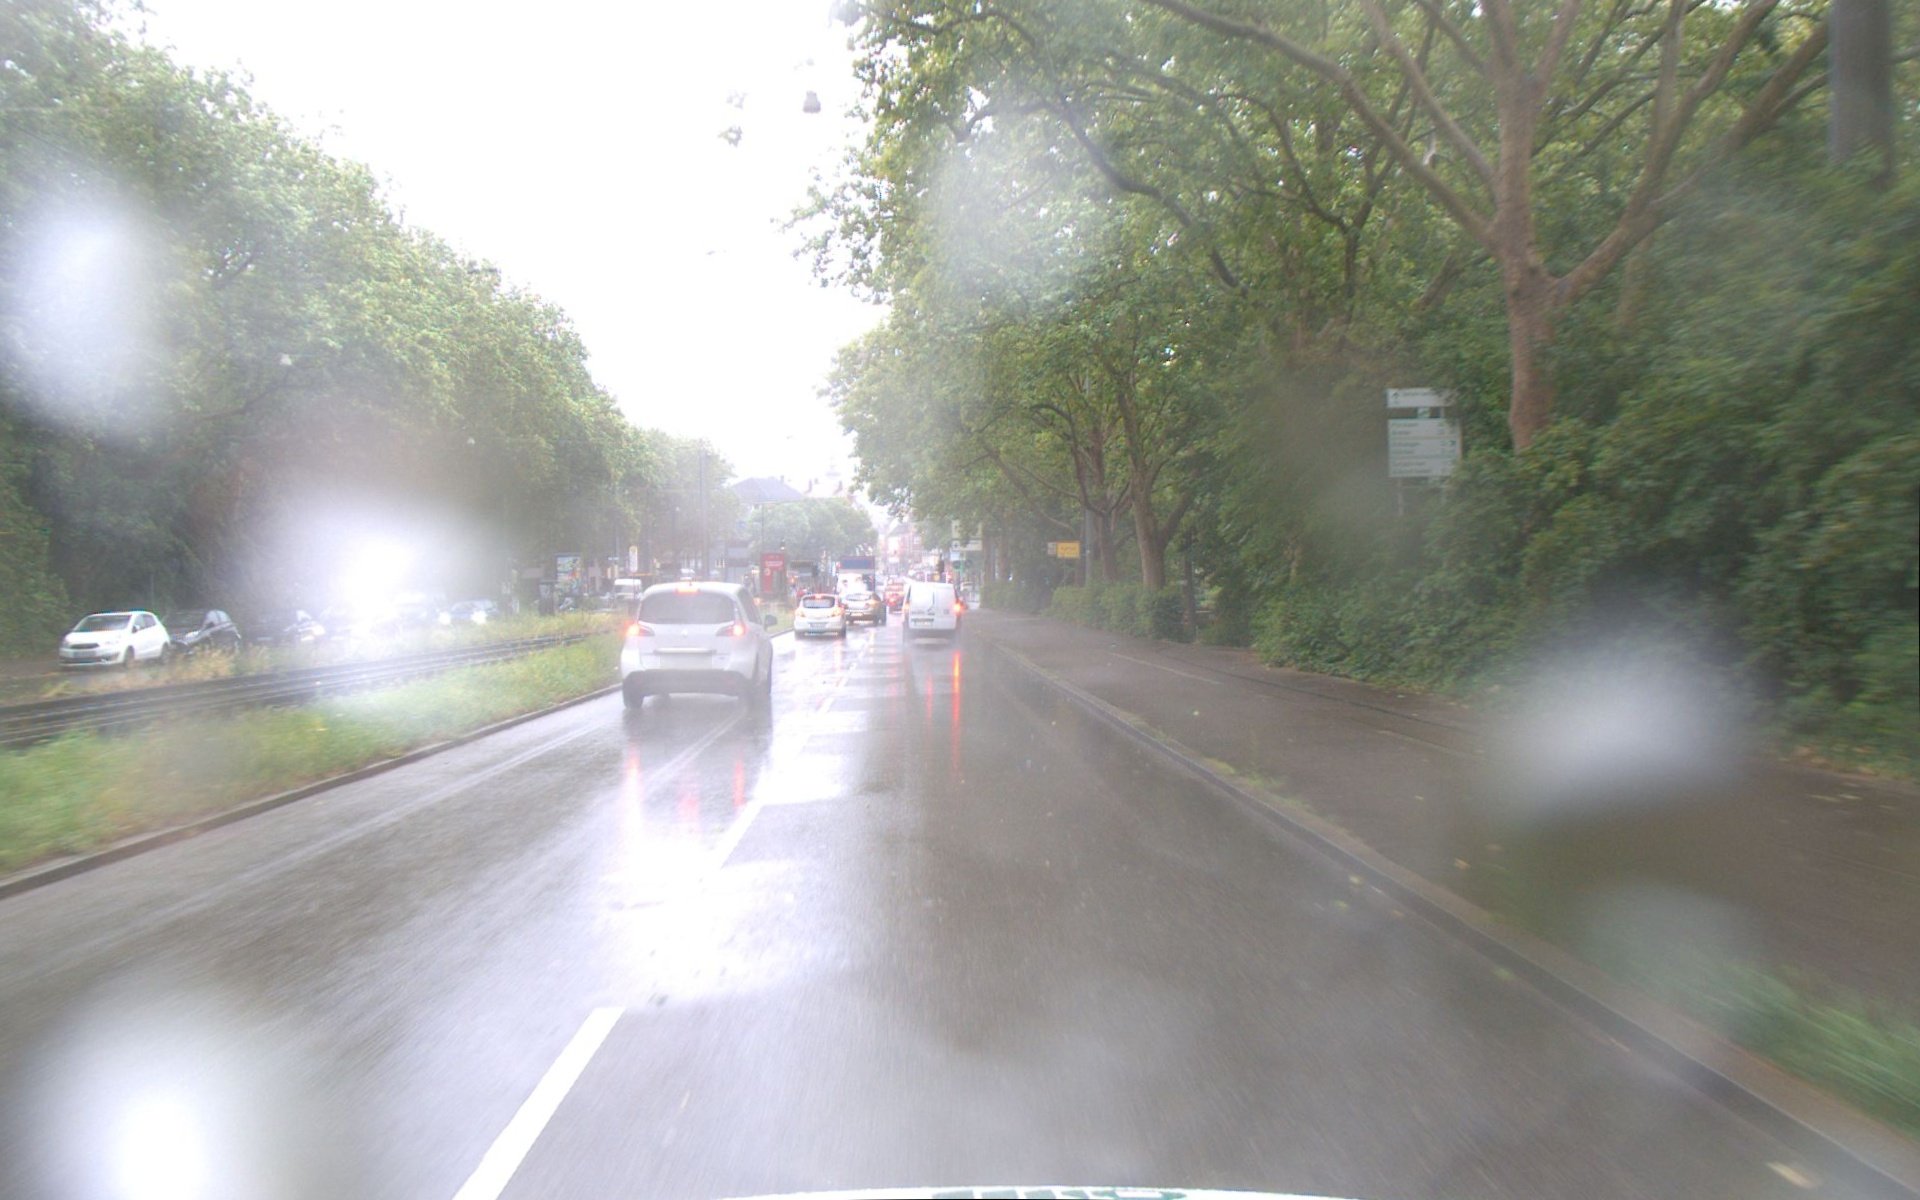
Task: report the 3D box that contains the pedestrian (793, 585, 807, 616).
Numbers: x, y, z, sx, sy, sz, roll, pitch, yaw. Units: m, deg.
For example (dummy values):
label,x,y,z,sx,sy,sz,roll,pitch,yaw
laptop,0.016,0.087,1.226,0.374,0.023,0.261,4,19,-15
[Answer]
label,x,y,z,sx,sy,sz,roll,pitch,yaw
pedestrian,-9.291,0.039,96.061,0.774,1.744,0.770,2,-1,-4

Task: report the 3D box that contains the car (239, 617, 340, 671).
label,x,y,z,sx,sy,sz,roll,pitch,yaw
car,-22.873,1.464,56.595,1.992,1.686,4.604,0,0,-6

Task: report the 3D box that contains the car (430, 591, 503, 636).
label,x,y,z,sx,sy,sz,roll,pitch,yaw
car,-20.770,0.543,69.760,1.992,1.782,4.689,-2,0,-5

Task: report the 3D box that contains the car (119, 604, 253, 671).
label,x,y,z,sx,sy,sz,roll,pitch,yaw
car,-22.430,1.052,48.148,1.992,1.782,4.689,-2,0,-5

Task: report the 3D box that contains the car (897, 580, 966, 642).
label,x,y,z,sx,sy,sz,roll,pitch,yaw
car,-0.887,0.338,49.565,1.920,1.808,3.567,0,-1,-3

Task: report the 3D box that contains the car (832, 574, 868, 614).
label,x,y,z,sx,sy,sz,roll,pitch,yaw
car,-7.431,-0.348,112.498,2.283,2.602,6.110,0,-1,-3

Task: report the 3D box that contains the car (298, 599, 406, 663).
label,x,y,z,sx,sy,sz,roll,pitch,yaw
car,-18.458,0.901,50.400,1.992,1.782,4.255,-2,0,-5

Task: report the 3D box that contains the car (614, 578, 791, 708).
label,x,y,z,sx,sy,sz,roll,pitch,yaw
car,-3.496,0.551,23.189,1.827,1.652,4.262,0,0,-1

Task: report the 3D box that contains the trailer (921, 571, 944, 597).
label,x,y,z,sx,sy,sz,roll,pitch,yaw
trailer,-2.645,-1.522,159.768,1.954,2.357,4.664,0,-1,-4

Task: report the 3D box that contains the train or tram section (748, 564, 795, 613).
label,x,y,z,sx,sy,sz,roll,pitch,yaw
train or tram section,-13.621,-0.888,119.957,2.903,3.342,8.354,-2,1,-4

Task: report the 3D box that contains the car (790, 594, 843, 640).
label,x,y,z,sx,sy,sz,roll,pitch,yaw
car,-4.898,0.592,56.869,1.691,1.505,3.803,0,-1,-3

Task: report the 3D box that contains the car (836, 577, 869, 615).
label,x,y,z,sx,sy,sz,roll,pitch,yaw
car,-6.744,-0.194,103.896,1.954,2.302,5.285,0,-1,-3

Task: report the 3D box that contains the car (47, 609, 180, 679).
label,x,y,z,sx,sy,sz,roll,pitch,yaw
car,-22.076,1.109,43.301,1.727,1.677,3.809,-2,0,-5

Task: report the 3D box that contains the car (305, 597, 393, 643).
label,x,y,z,sx,sy,sz,roll,pitch,yaw
car,-23.396,0.738,63.508,1.992,1.686,4.605,0,0,-5

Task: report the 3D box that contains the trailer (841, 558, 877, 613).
label,x,y,z,sx,sy,sz,roll,pitch,yaw
trailer,-7.464,-1.055,121.665,2.539,3.968,7.630,0,0,-4

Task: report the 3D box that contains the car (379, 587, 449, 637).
label,x,y,z,sx,sy,sz,roll,pitch,yaw
car,-24.470,0.534,74.303,1.993,2.129,4.797,-2,0,-7
